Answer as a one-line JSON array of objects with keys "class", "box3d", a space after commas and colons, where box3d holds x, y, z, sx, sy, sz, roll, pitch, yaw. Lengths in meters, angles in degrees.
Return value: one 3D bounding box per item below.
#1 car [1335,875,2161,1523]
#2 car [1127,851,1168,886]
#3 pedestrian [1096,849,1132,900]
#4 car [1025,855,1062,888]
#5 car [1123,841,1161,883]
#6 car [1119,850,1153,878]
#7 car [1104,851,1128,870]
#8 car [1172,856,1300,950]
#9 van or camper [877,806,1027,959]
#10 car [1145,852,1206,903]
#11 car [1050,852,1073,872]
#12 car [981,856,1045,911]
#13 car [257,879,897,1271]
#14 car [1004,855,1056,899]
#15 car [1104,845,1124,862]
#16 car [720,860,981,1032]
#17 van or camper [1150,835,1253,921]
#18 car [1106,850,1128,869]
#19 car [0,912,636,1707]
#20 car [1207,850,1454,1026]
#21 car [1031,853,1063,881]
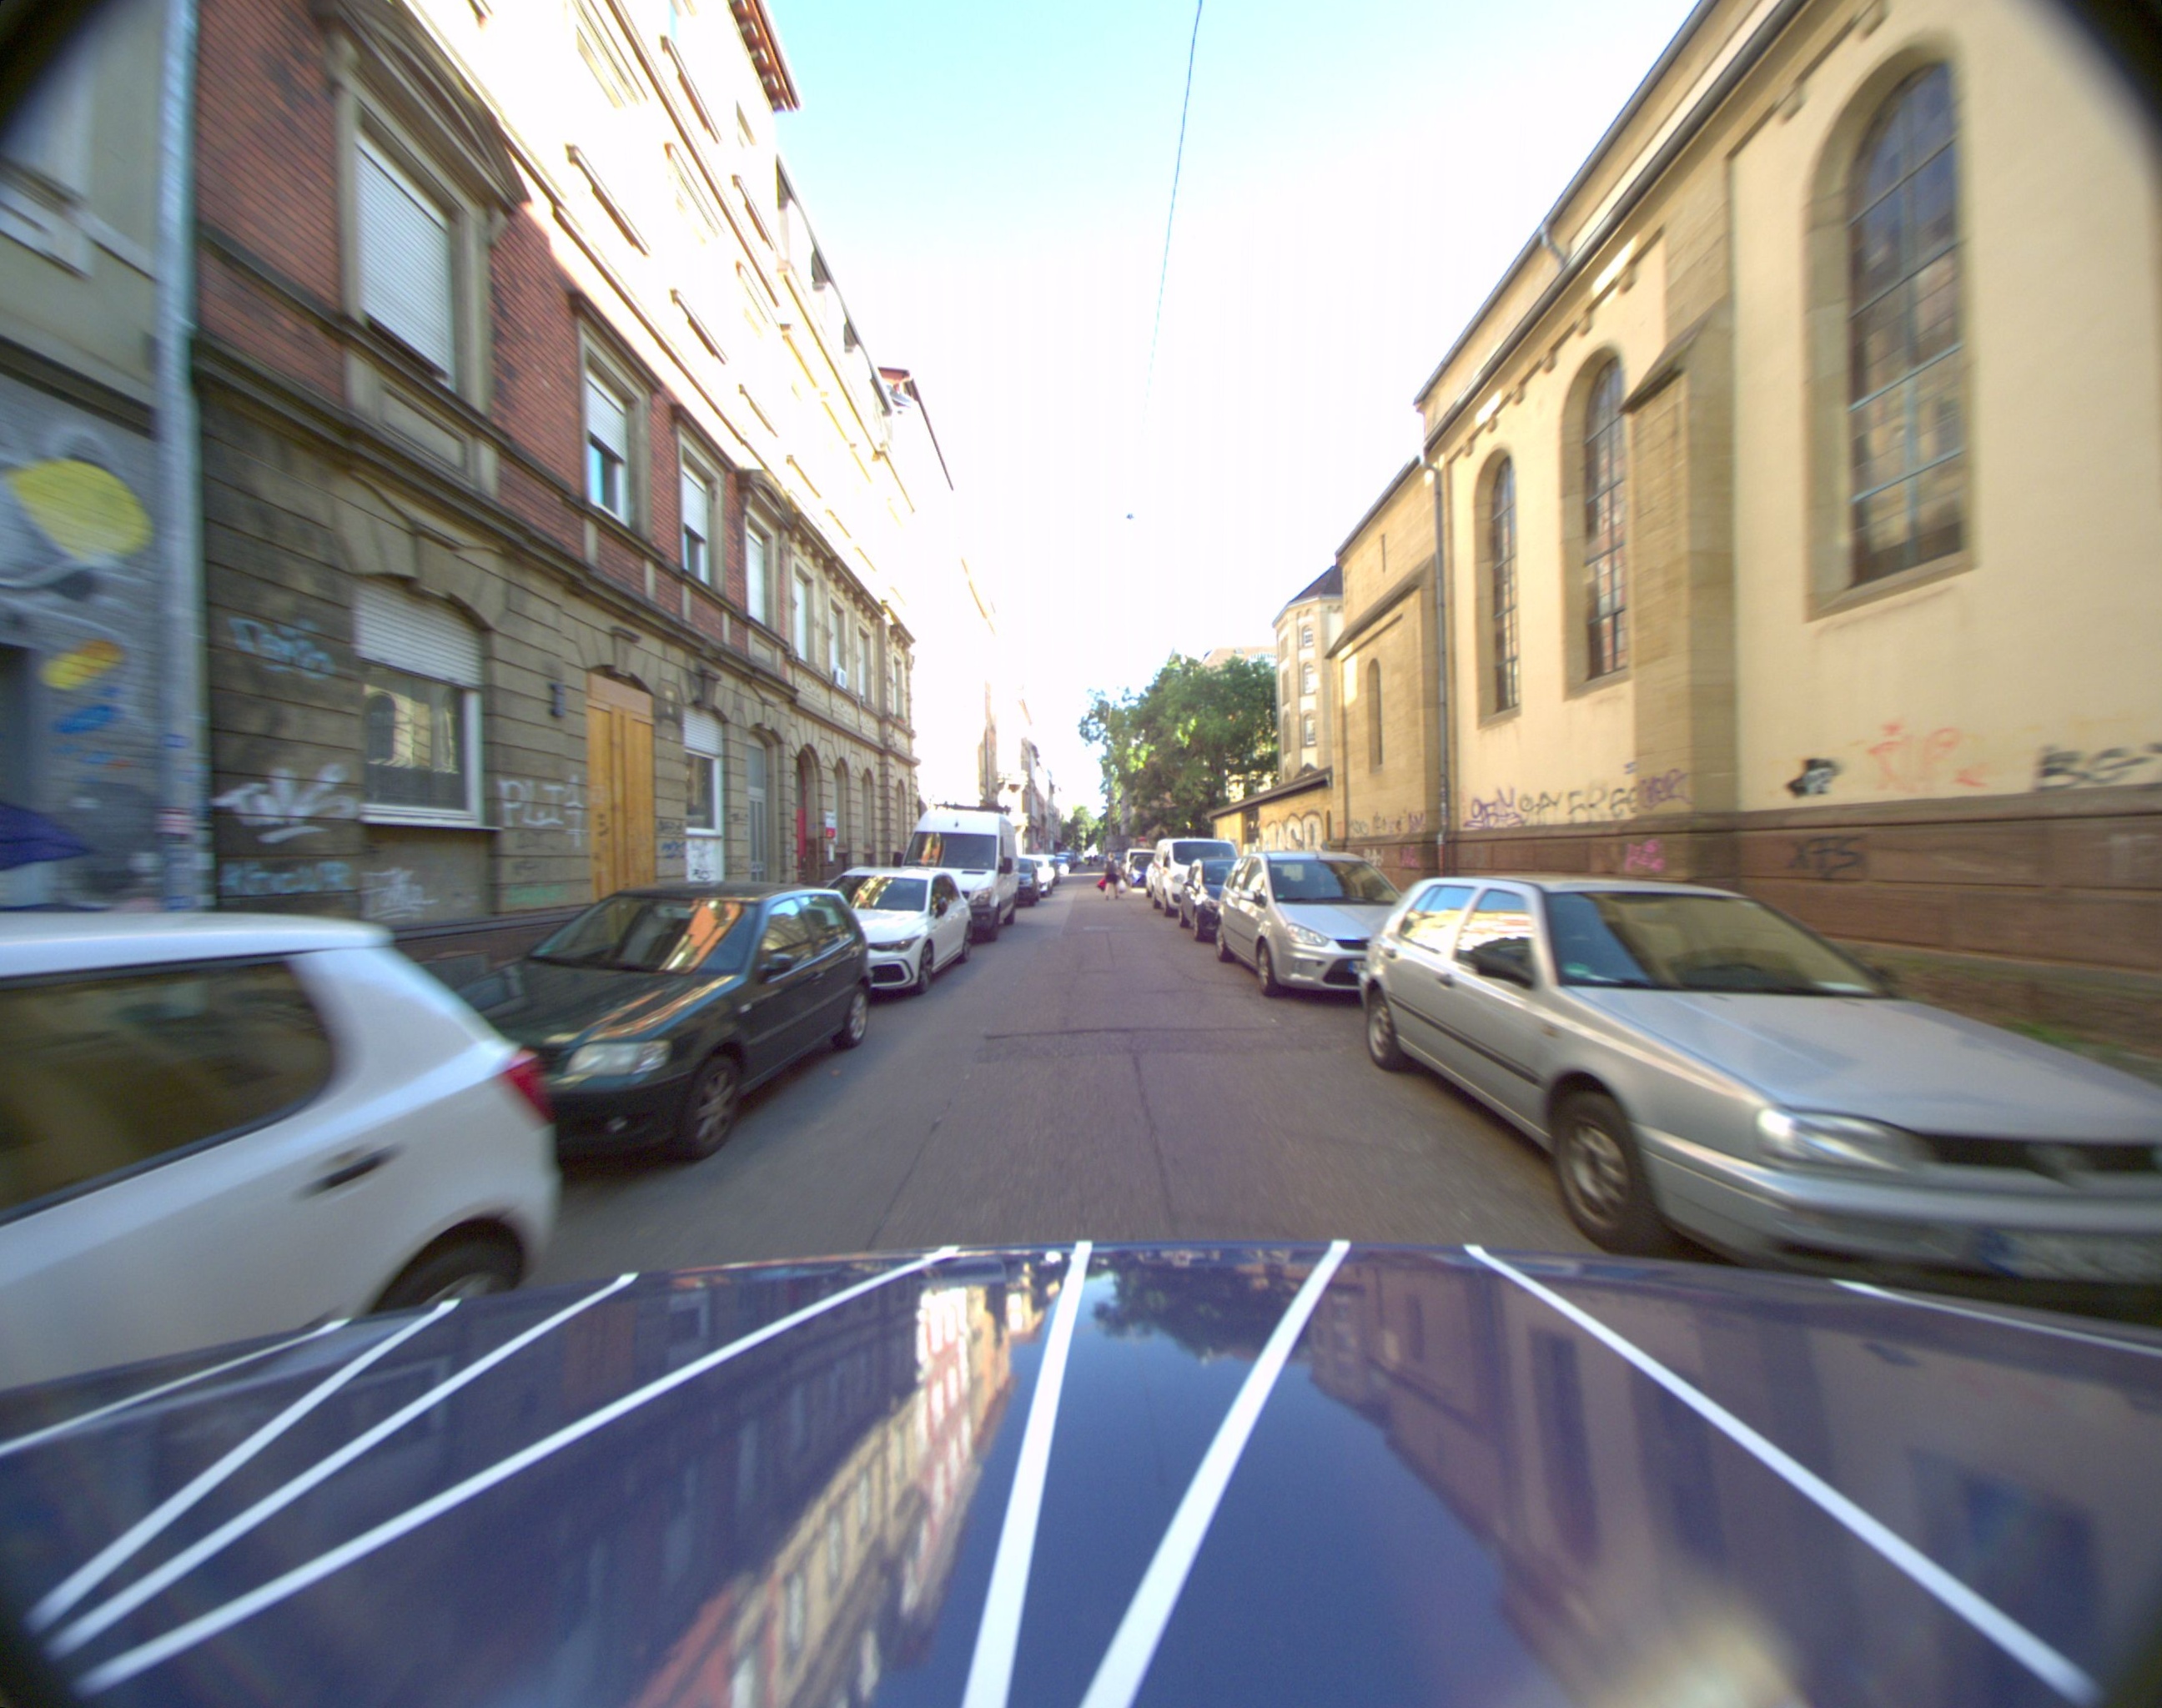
[{"class": "car", "box3d": [2.734, 0.904, 3.898, 1.576, 1.356, 4.146, -2, 1, 2]}, {"class": "car", "box3d": [3.132, 0.669, 36.403, 1.696, 1.529, 3.813, -2, 0, 1]}, {"class": "pedestrian", "box3d": [1.143, 0.698, 26.318, 0.827, 1.703, 0.876, -3, 1, 31]}, {"class": "car", "box3d": [-2.007, 0.911, 41.687, 1.696, 1.615, 3.963, -2, 0, 1]}, {"class": "car", "box3d": [3.333, 0.401, 41.812, 1.777, 2.128, 4.022, -2, 0, 1]}, {"class": "car", "box3d": [3.374, 0.607, 47.292, 1.777, 1.614, 4.022, -2, 0, 0]}, {"class": "car", "box3d": [2.987, 0.534, 65.799, 1.777, 1.614, 4.022, -2, 0, 0]}, {"class": "car", "box3d": [2.776, 0.822, 14.393, 1.696, 1.472, 3.736, -2, 0, 1]}, {"class": "van or camper", "box3d": [-2.499, 0.466, 16.420, 1.998, 2.617, 5.978, -2, 1, 1]}, {"class": "car", "box3d": [3.181, 0.743, 26.124, 1.653, 1.557, 3.640, -2, 0, 1]}, {"class": "car", "box3d": [-1.635, 0.647, 64.107, 1.696, 1.615, 3.963, -2, 0, 1]}, {"class": "car", "box3d": [-2.185, 0.921, 25.390, 1.696, 1.615, 3.813, -2, 0, 1]}, {"class": "car", "box3d": [-2.672, 1.042, 5.253, 1.590, 1.478, 3.912, -2, 1, 3]}, {"class": "car", "box3d": [-2.003, 0.881, 30.800, 1.696, 1.615, 3.963, -2, 0, 1]}, {"class": "car", "box3d": [3.292, -0.053, 76.805, 1.777, 1.614, 4.022, -2, 0, 0]}, {"class": "car", "box3d": [-2.727, 0.989, 10.287, 1.998, 1.637, 4.563, -2, 1, 1]}, {"class": "van or camper", "box3d": [2.998, 0.540, 19.897, 1.984, 1.940, 4.563, -2, 0, 1]}, {"class": "car", "box3d": [3.322, 0.487, 70.451, 1.777, 1.614, 4.022, -2, 0, 0]}, {"class": "car", "box3d": [-2.499, 1.036, 0.705, 1.558, 1.518, 4.200, -2, 1, 1]}, {"class": "car", "box3d": [2.688, 0.792, 9.181, 1.724, 1.558, 4.000, -2, 1, 2]}, {"class": "car", "box3d": [-2.036, 0.748, 46.820, 1.696, 1.615, 3.963, -2, 0, 1]}]
